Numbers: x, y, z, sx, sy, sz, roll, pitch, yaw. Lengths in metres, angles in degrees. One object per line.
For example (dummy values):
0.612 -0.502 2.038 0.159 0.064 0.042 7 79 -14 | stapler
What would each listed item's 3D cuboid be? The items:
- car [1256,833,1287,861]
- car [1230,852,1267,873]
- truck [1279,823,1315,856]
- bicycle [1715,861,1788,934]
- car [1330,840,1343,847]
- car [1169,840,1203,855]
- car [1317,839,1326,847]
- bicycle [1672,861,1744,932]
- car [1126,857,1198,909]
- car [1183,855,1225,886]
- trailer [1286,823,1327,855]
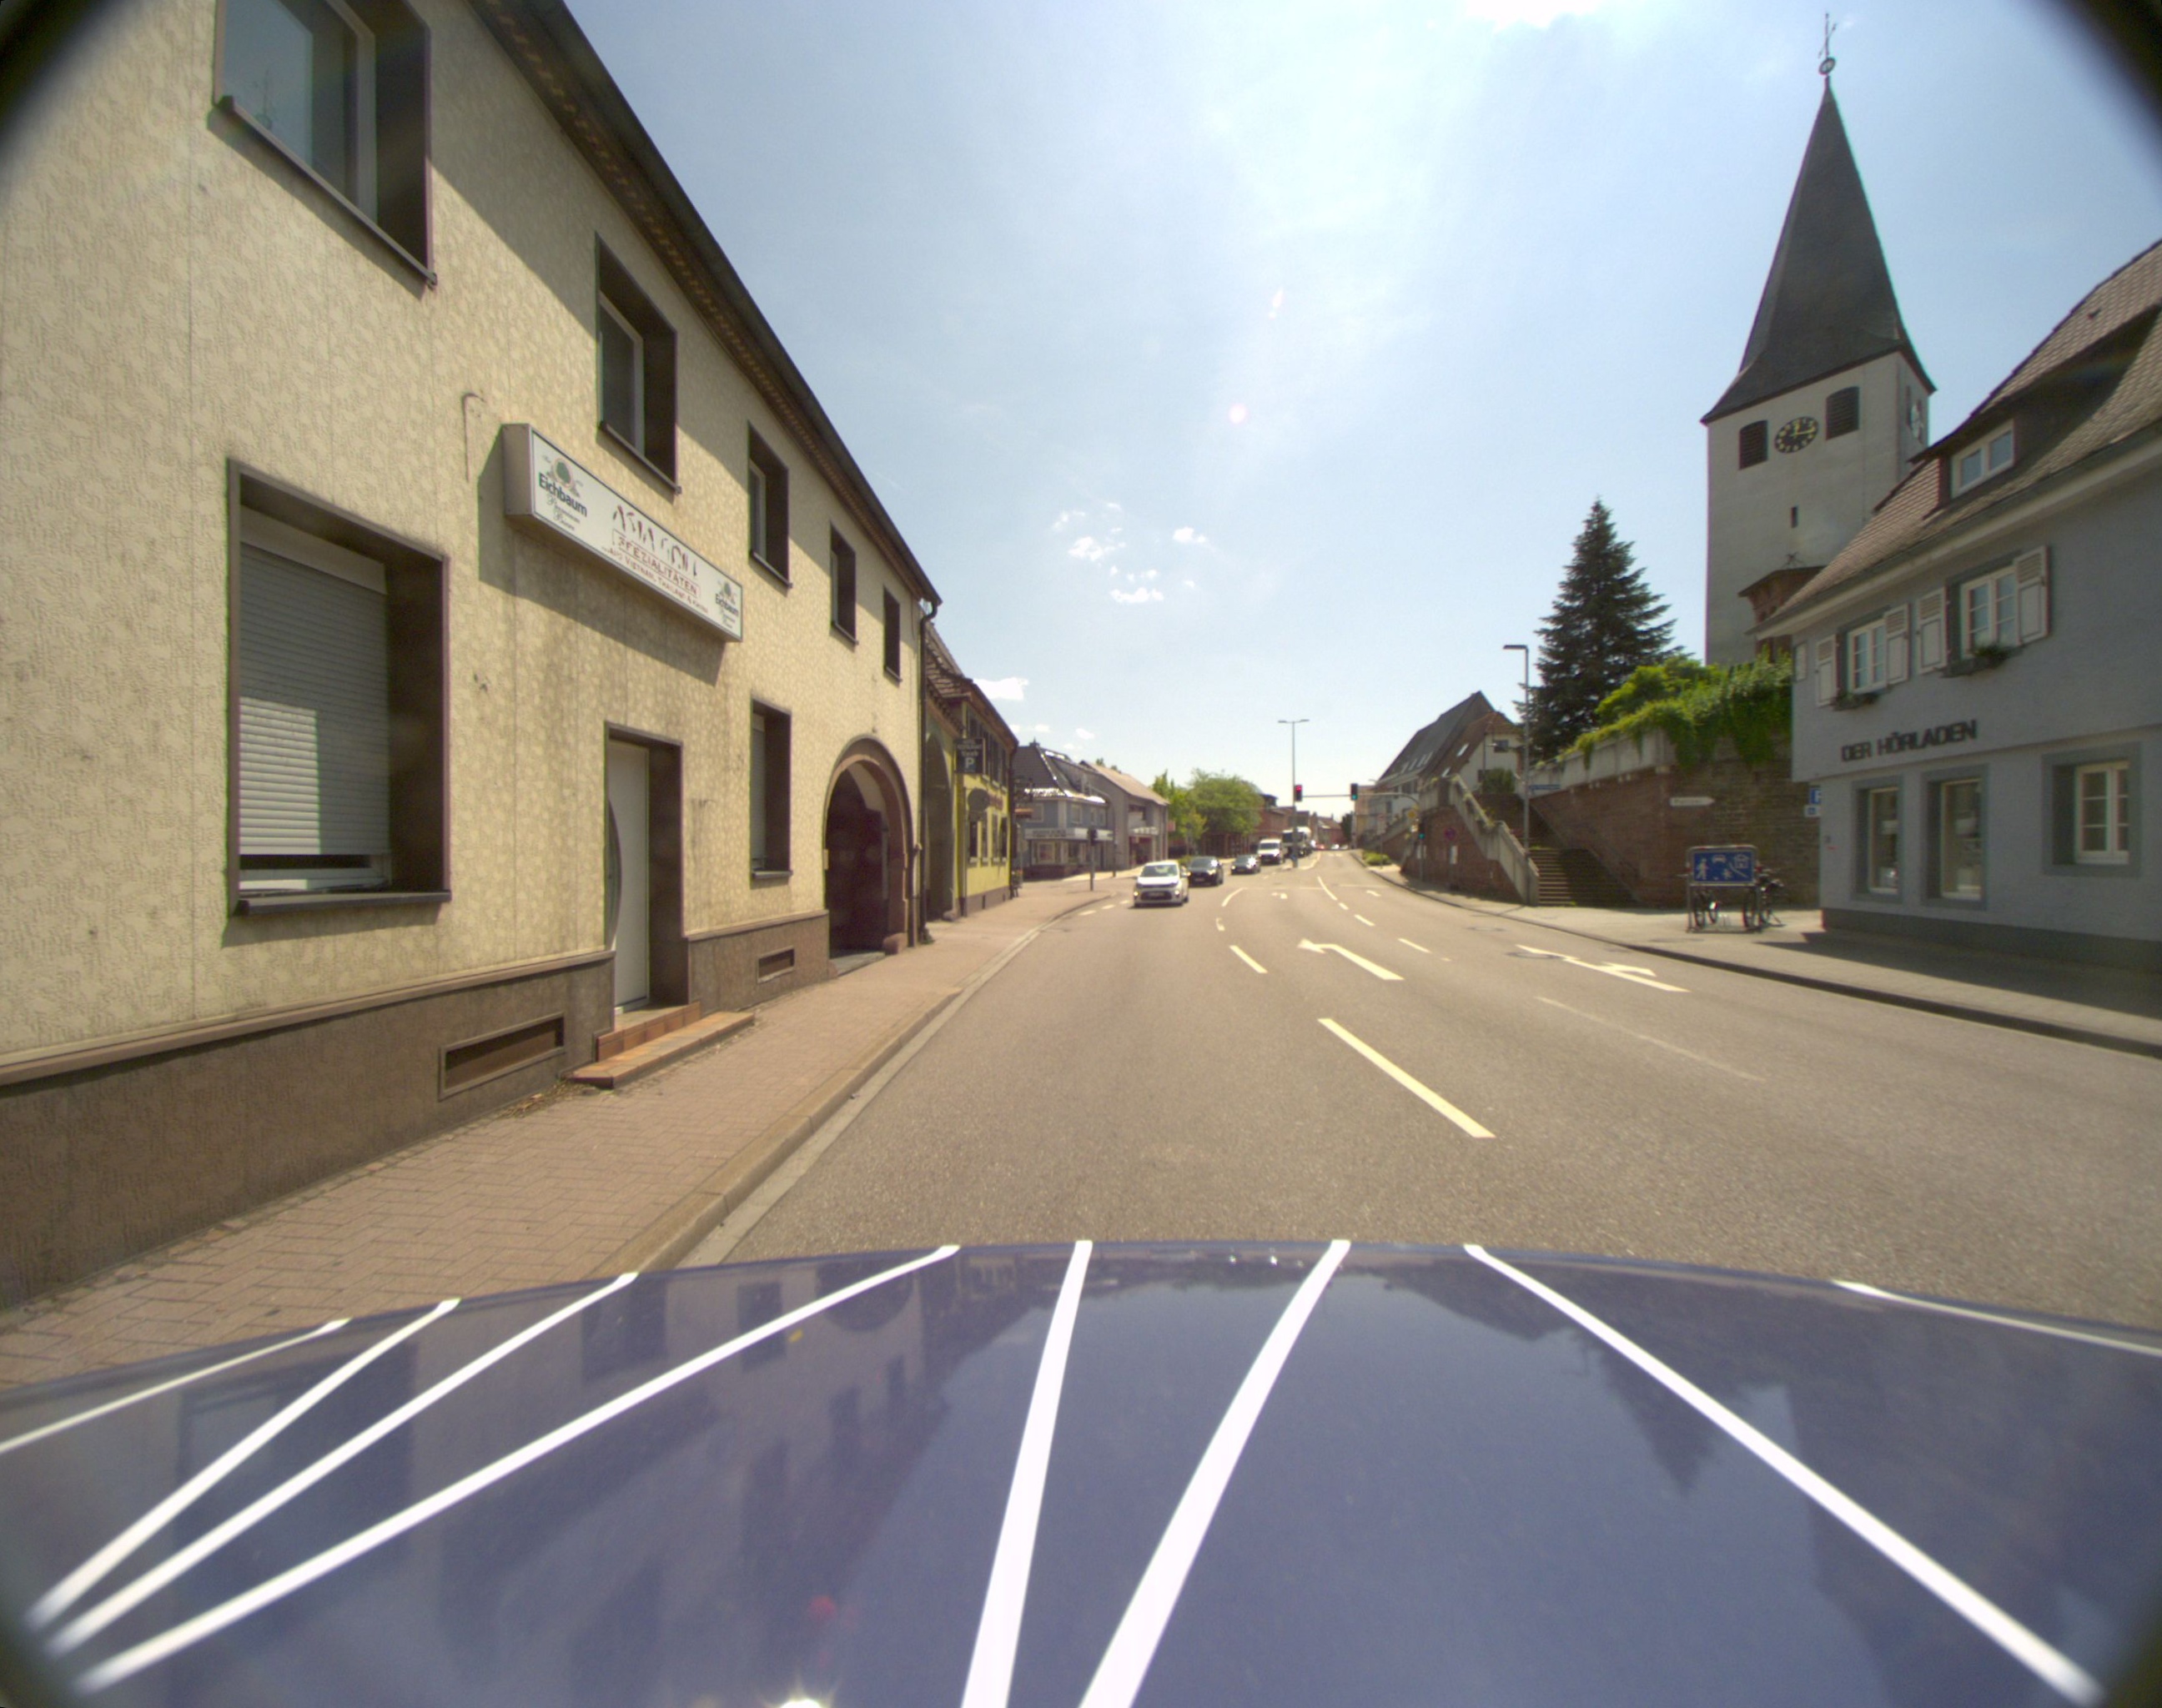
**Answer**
17.976 -0.642 71.566 2.172 2.549 4.831 -1 0 21 | car
12.901 0.617 58.353 1.926 1.358 4.309 -3 0 24 | car
24.193 -1.563 85.040 2.843 3.549 5.477 -1 0 26 | truck
12.851 0.810 14.545 1.834 1.241 0.577 -4 -1 -36 | bicycle
59.834 -2.419 177.880 2.008 1.621 4.586 -1 0 27 | car
12.634 -0.784 91.087 3.756 1.701 1.726 -3 1 16 | car
56.240 -2.475 177.491 1.764 1.775 4.005 -2 0 19 | car
12.416 0.826 15.030 1.834 1.241 0.577 -4 -1 -36 | bicycle
2.917 0.952 26.442 1.722 1.541 4.308 -3 0 16 | car
7.043 0.906 43.134 1.722 1.541 4.308 -3 0 17 | car
27.088 -1.701 91.002 2.833 3.549 10.984 -1 0 26 | trailer
